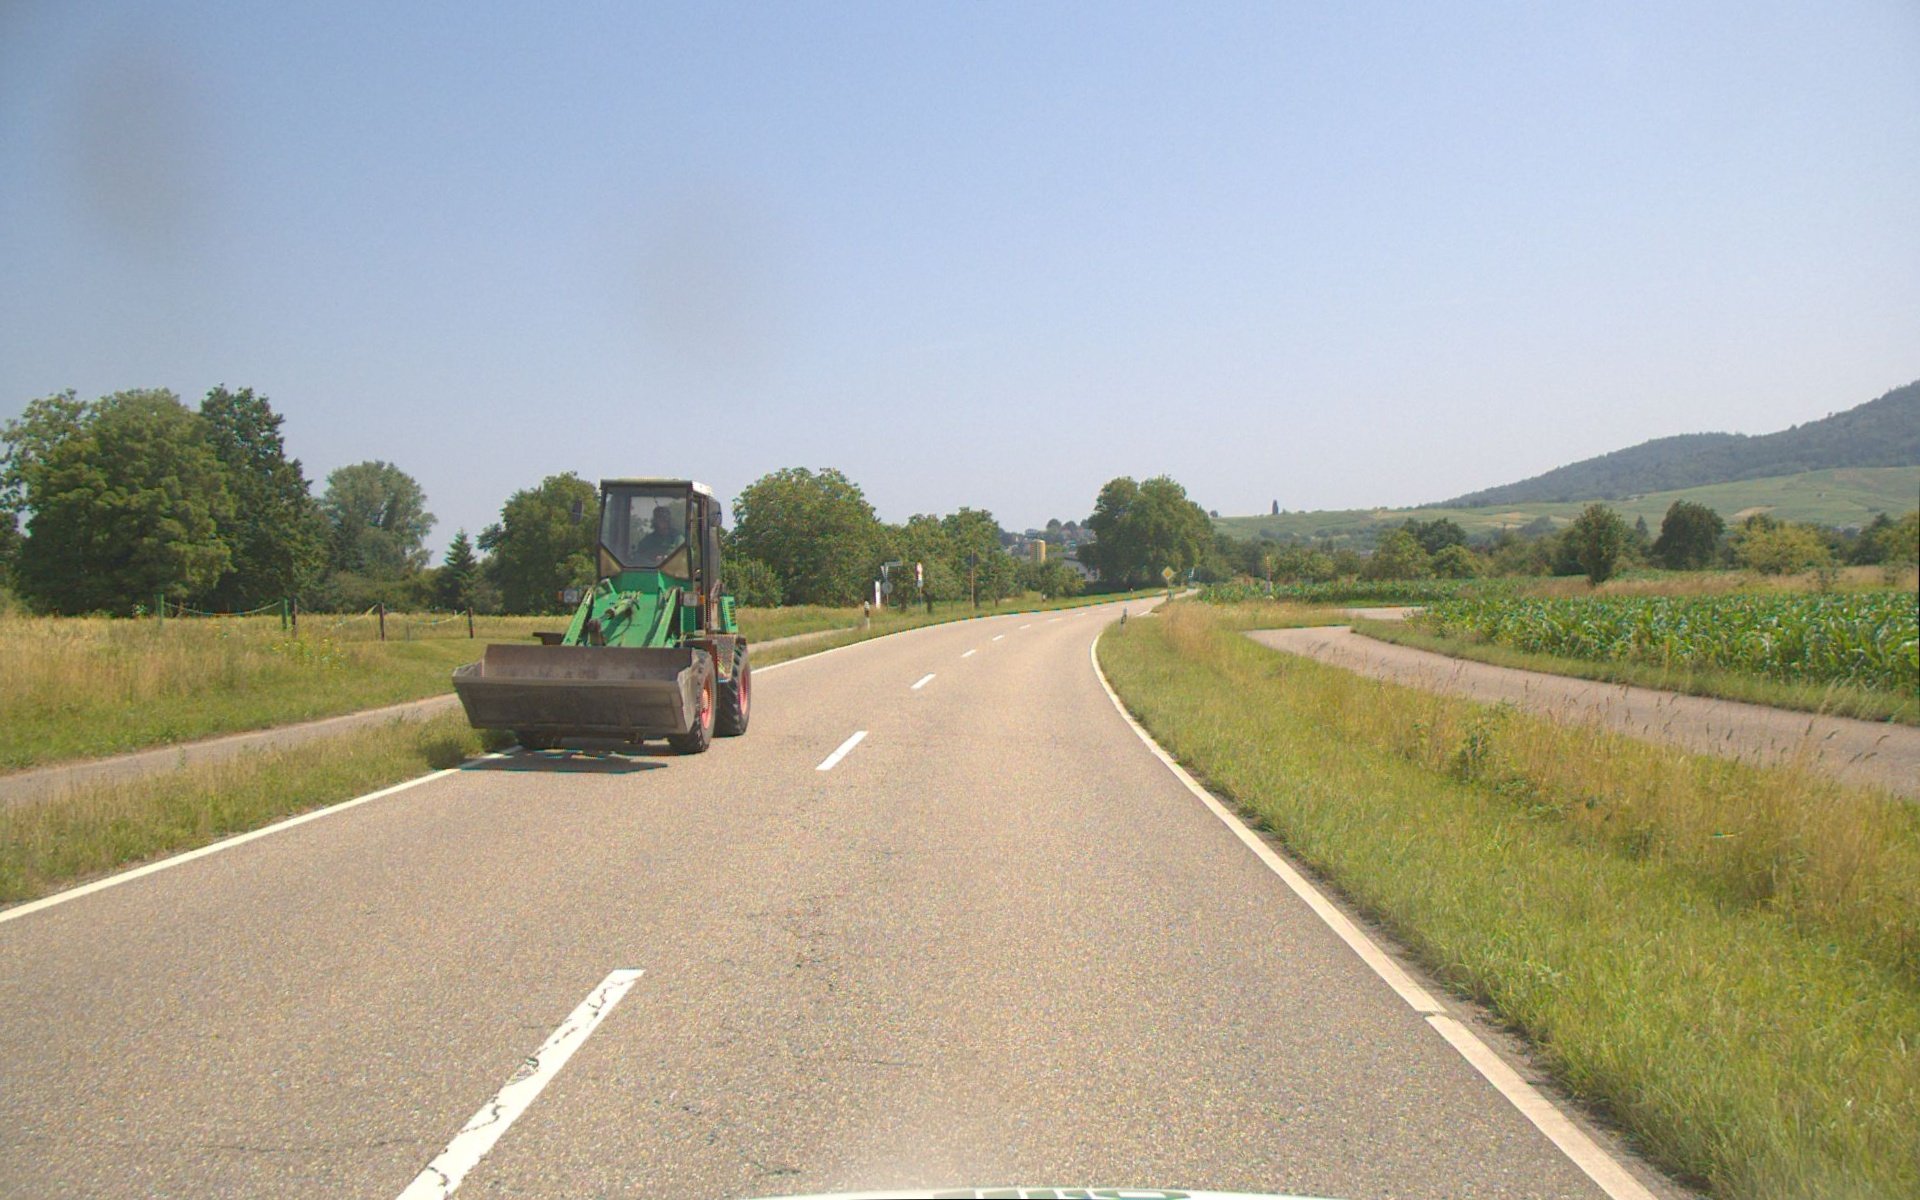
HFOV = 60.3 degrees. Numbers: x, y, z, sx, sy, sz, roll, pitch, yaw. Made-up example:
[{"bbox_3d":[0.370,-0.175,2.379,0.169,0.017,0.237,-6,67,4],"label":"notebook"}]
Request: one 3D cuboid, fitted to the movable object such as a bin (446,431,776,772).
[{"bbox_3d":[-3.205,-0.002,16.406,1.959,2.803,5.231,1,0,2],"label":"movable object such as a bin"}]
